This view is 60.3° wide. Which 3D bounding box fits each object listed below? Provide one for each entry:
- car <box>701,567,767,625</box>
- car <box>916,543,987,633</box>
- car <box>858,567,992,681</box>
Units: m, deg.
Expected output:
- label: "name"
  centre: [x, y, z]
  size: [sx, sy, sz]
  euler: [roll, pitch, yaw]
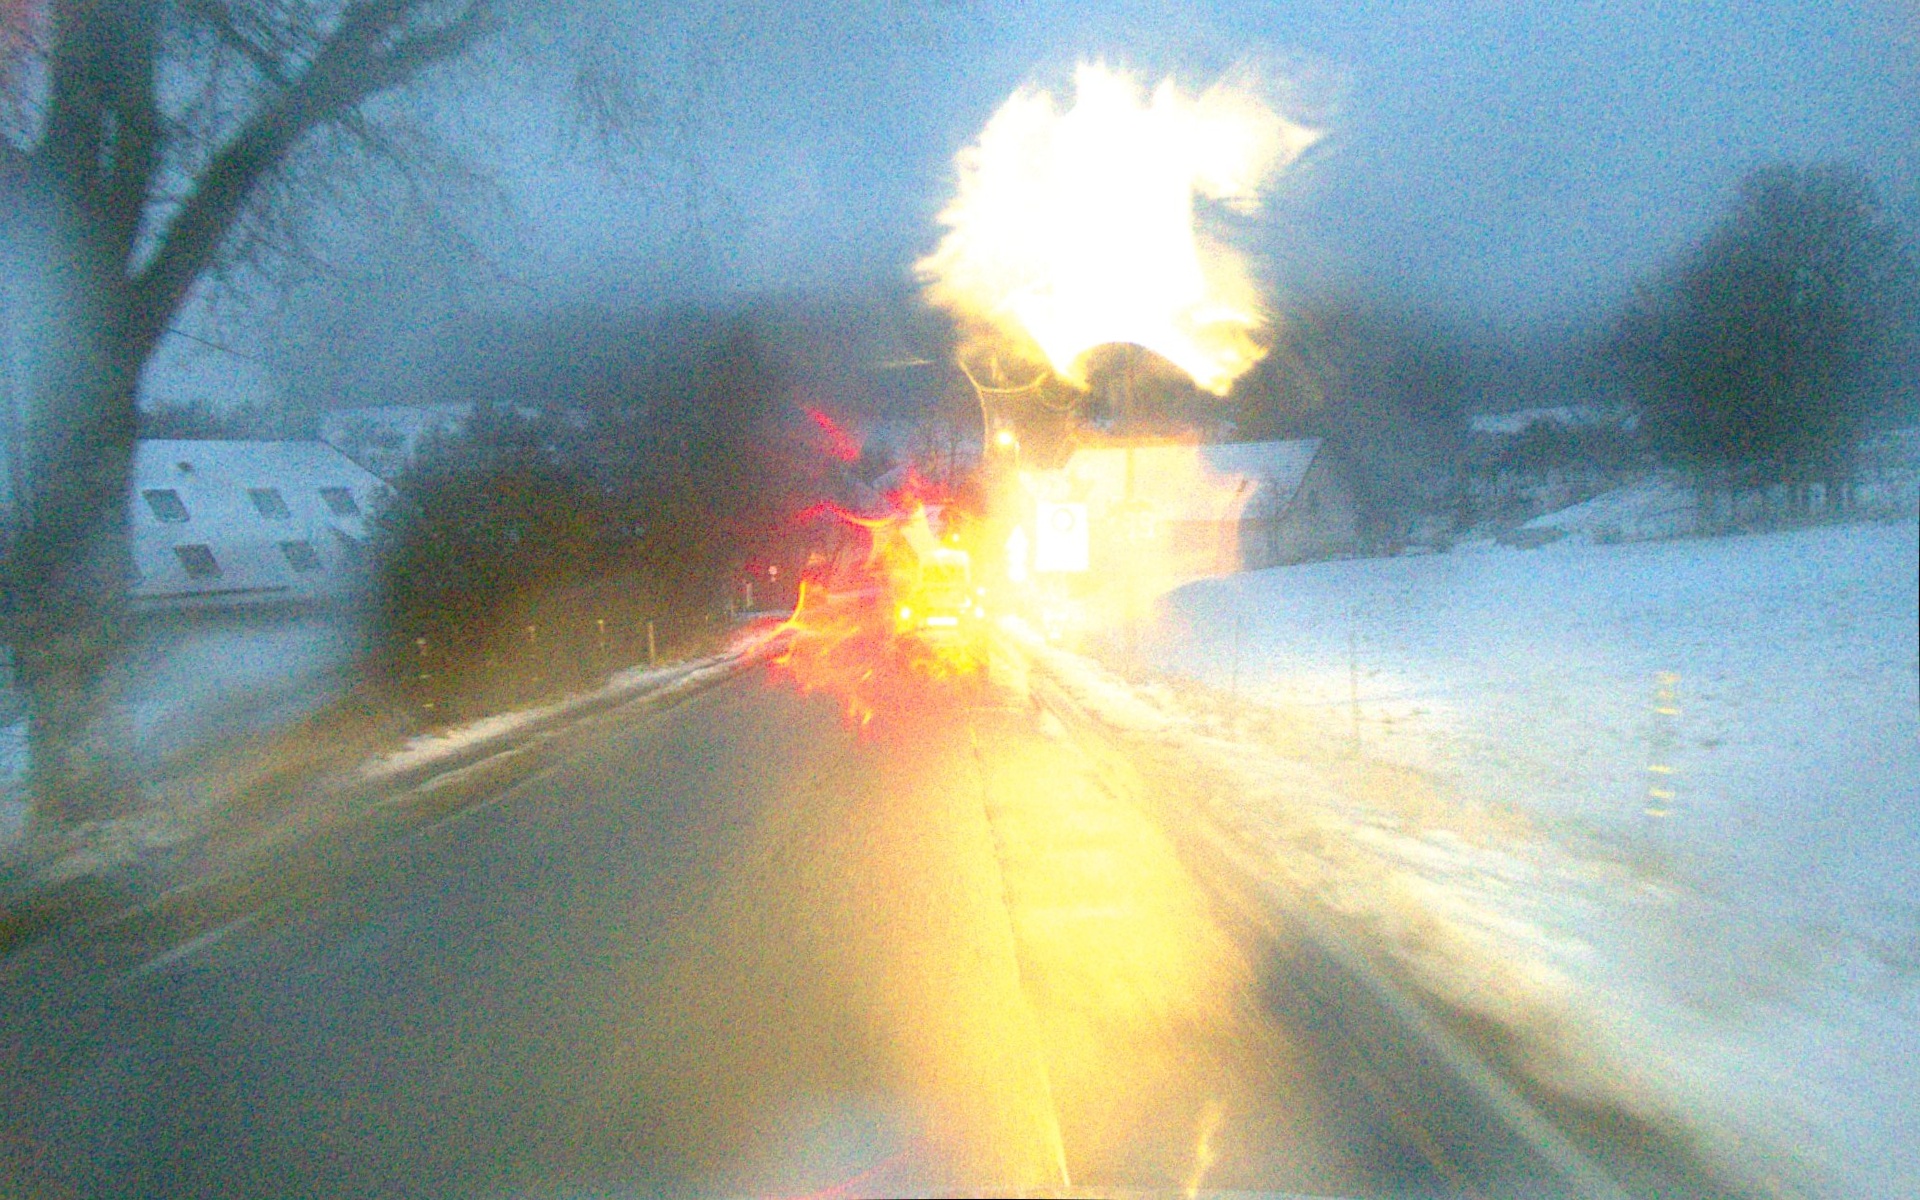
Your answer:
- label: "car"
  centre: [-10.657, -0.200, 78.606]
  size: [2.419, 2.616, 6.226]
  euler: [-1, 0, -2]
- label: "car"
  centre: [-0.276, -0.380, 61.240]
  size: [2.385, 3.071, 5.325]
  euler: [-3, -1, 0]
- label: "car"
  centre: [-0.668, 0.388, 30.390]
  size: [2.228, 1.873, 5.005]
  euler: [-1, 0, -2]
